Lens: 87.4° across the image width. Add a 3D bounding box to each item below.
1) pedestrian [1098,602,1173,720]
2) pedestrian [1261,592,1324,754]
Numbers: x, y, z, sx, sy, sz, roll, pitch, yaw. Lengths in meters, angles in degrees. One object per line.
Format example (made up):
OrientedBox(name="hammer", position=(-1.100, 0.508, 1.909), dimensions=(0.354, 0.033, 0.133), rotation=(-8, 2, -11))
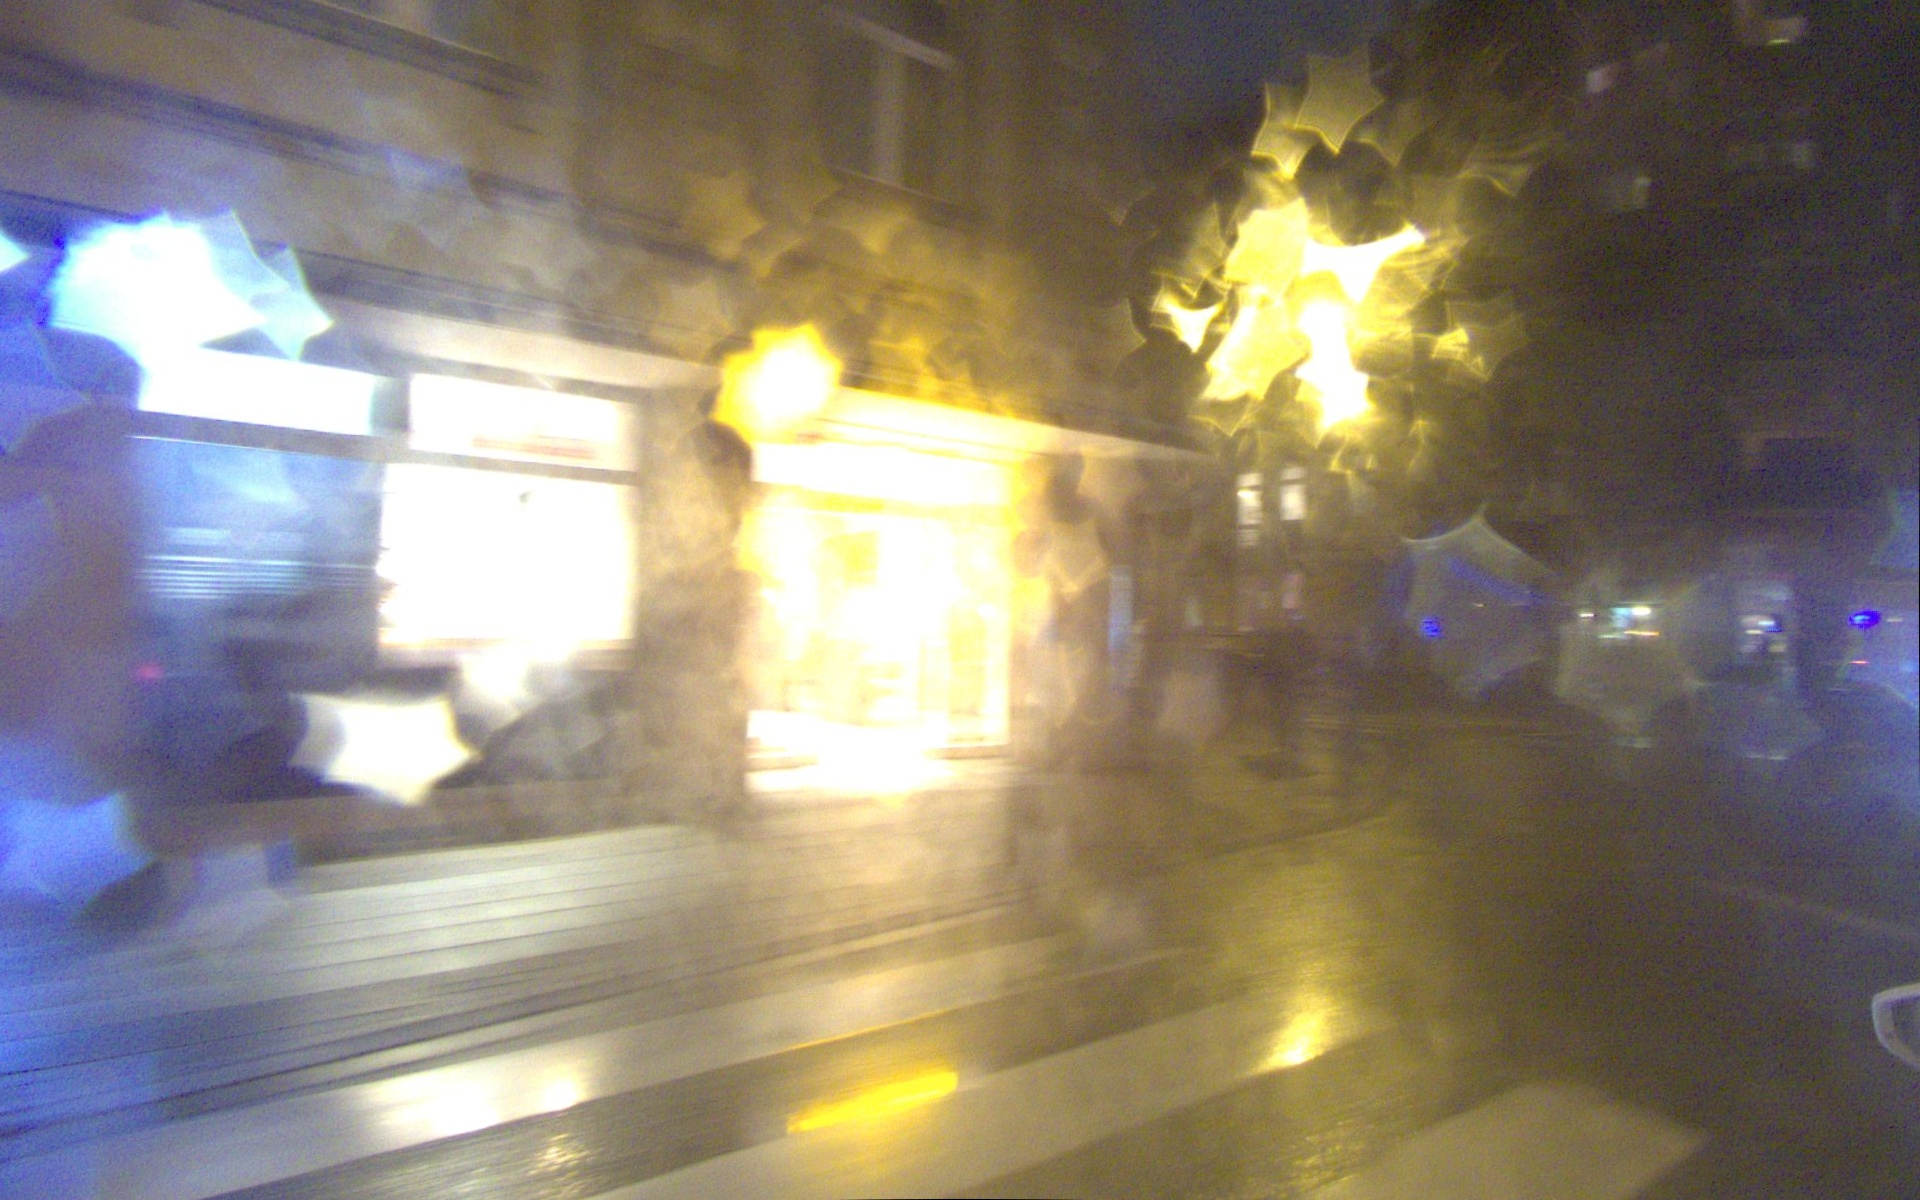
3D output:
OrientedBox(name="pedestrian", position=(2.886, 0.996, 16.555), dimensions=(0.932, 1.882, 0.795), rotation=(1, -3, -22))
OrientedBox(name="pedestrian", position=(4.089, 0.880, 12.371), dimensions=(0.641, 1.934, 0.629), rotation=(0, -1, 9))
